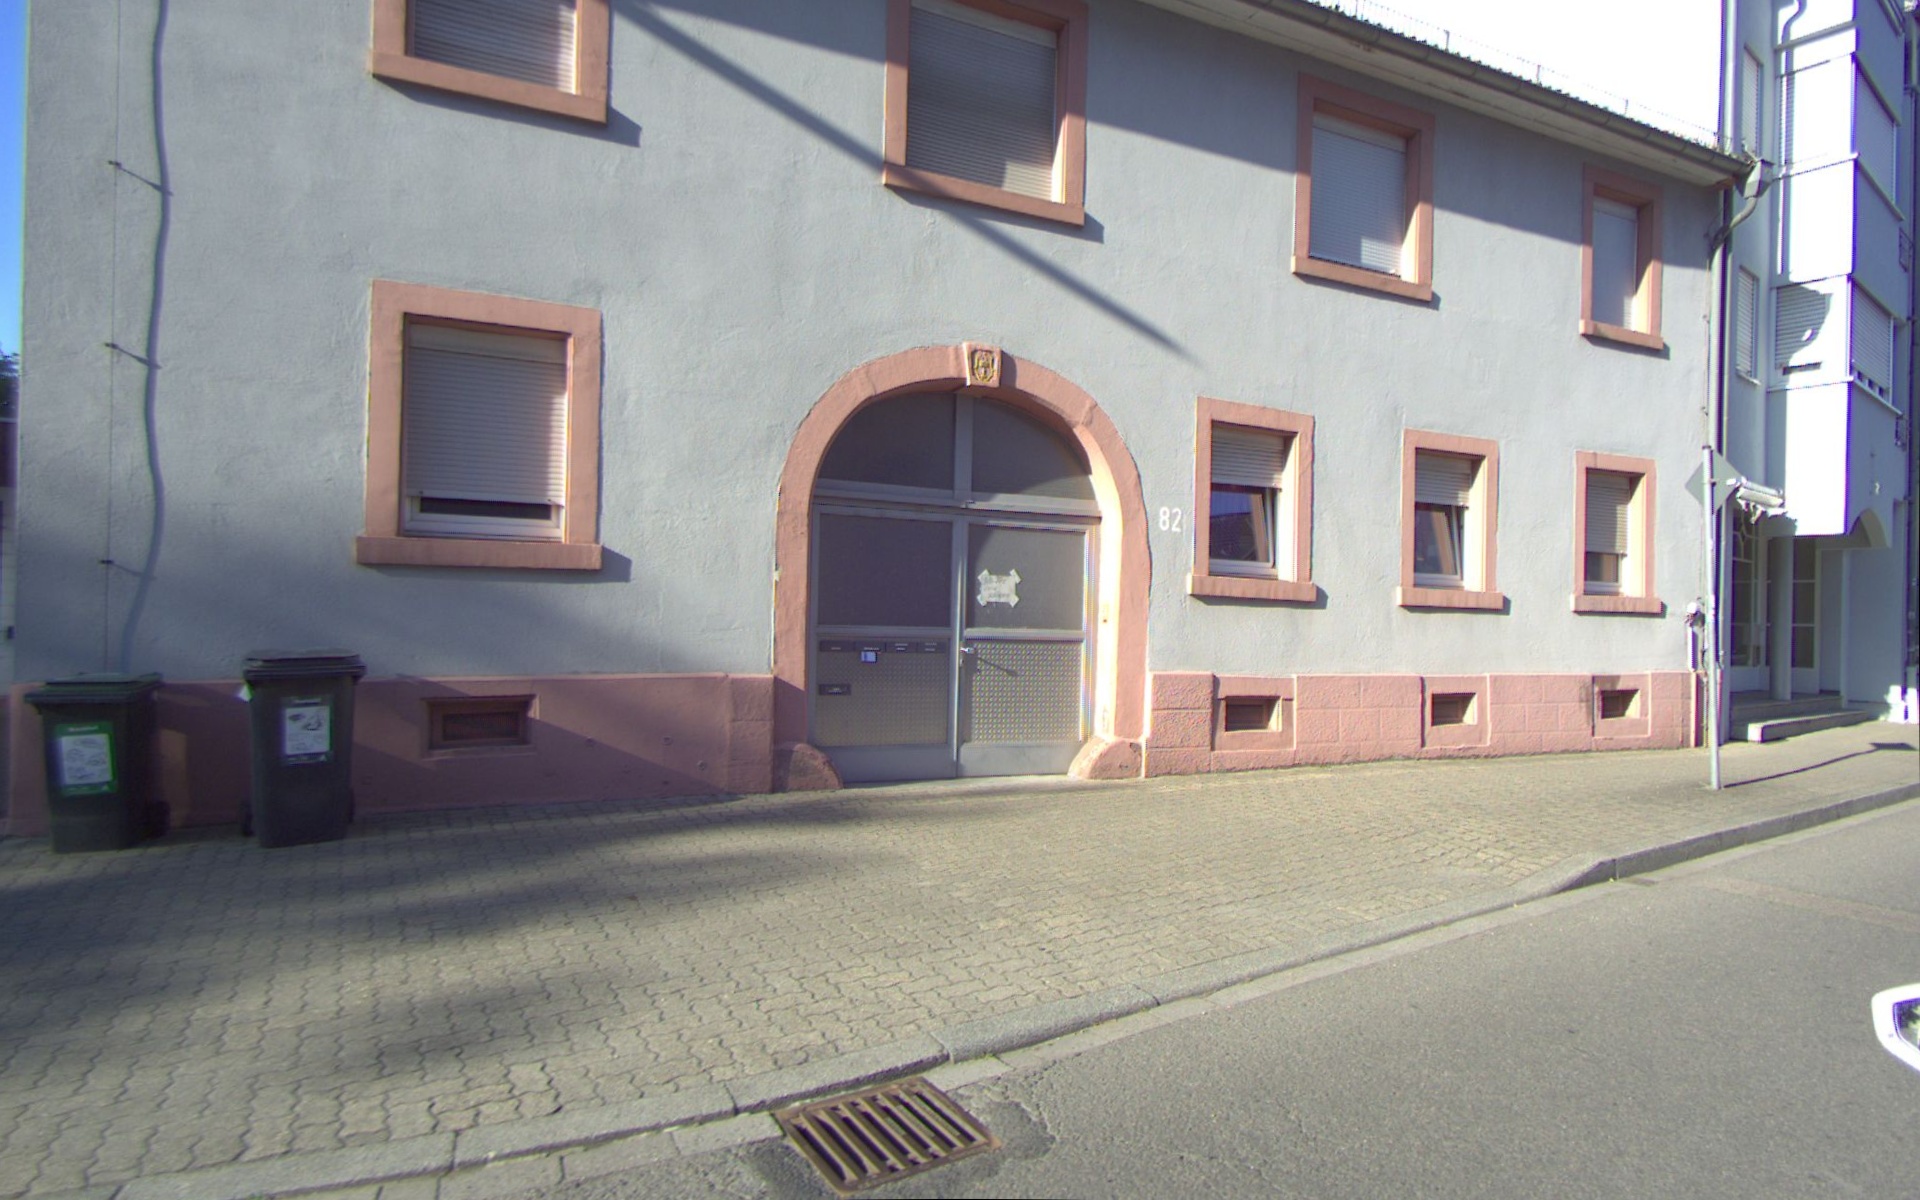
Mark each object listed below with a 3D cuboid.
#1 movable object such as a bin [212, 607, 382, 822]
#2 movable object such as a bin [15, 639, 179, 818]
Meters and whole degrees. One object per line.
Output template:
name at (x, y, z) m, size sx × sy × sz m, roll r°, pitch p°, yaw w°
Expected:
movable object such as a bin at (-3.745, 0.614, 5.712) m, size 0.743 × 1.108 × 0.595 m, roll 2°, pitch 0°, yaw -33°
movable object such as a bin at (-4.695, 0.669, 5.503) m, size 0.600 × 0.884 × 0.594 m, roll 2°, pitch 0°, yaw -35°
